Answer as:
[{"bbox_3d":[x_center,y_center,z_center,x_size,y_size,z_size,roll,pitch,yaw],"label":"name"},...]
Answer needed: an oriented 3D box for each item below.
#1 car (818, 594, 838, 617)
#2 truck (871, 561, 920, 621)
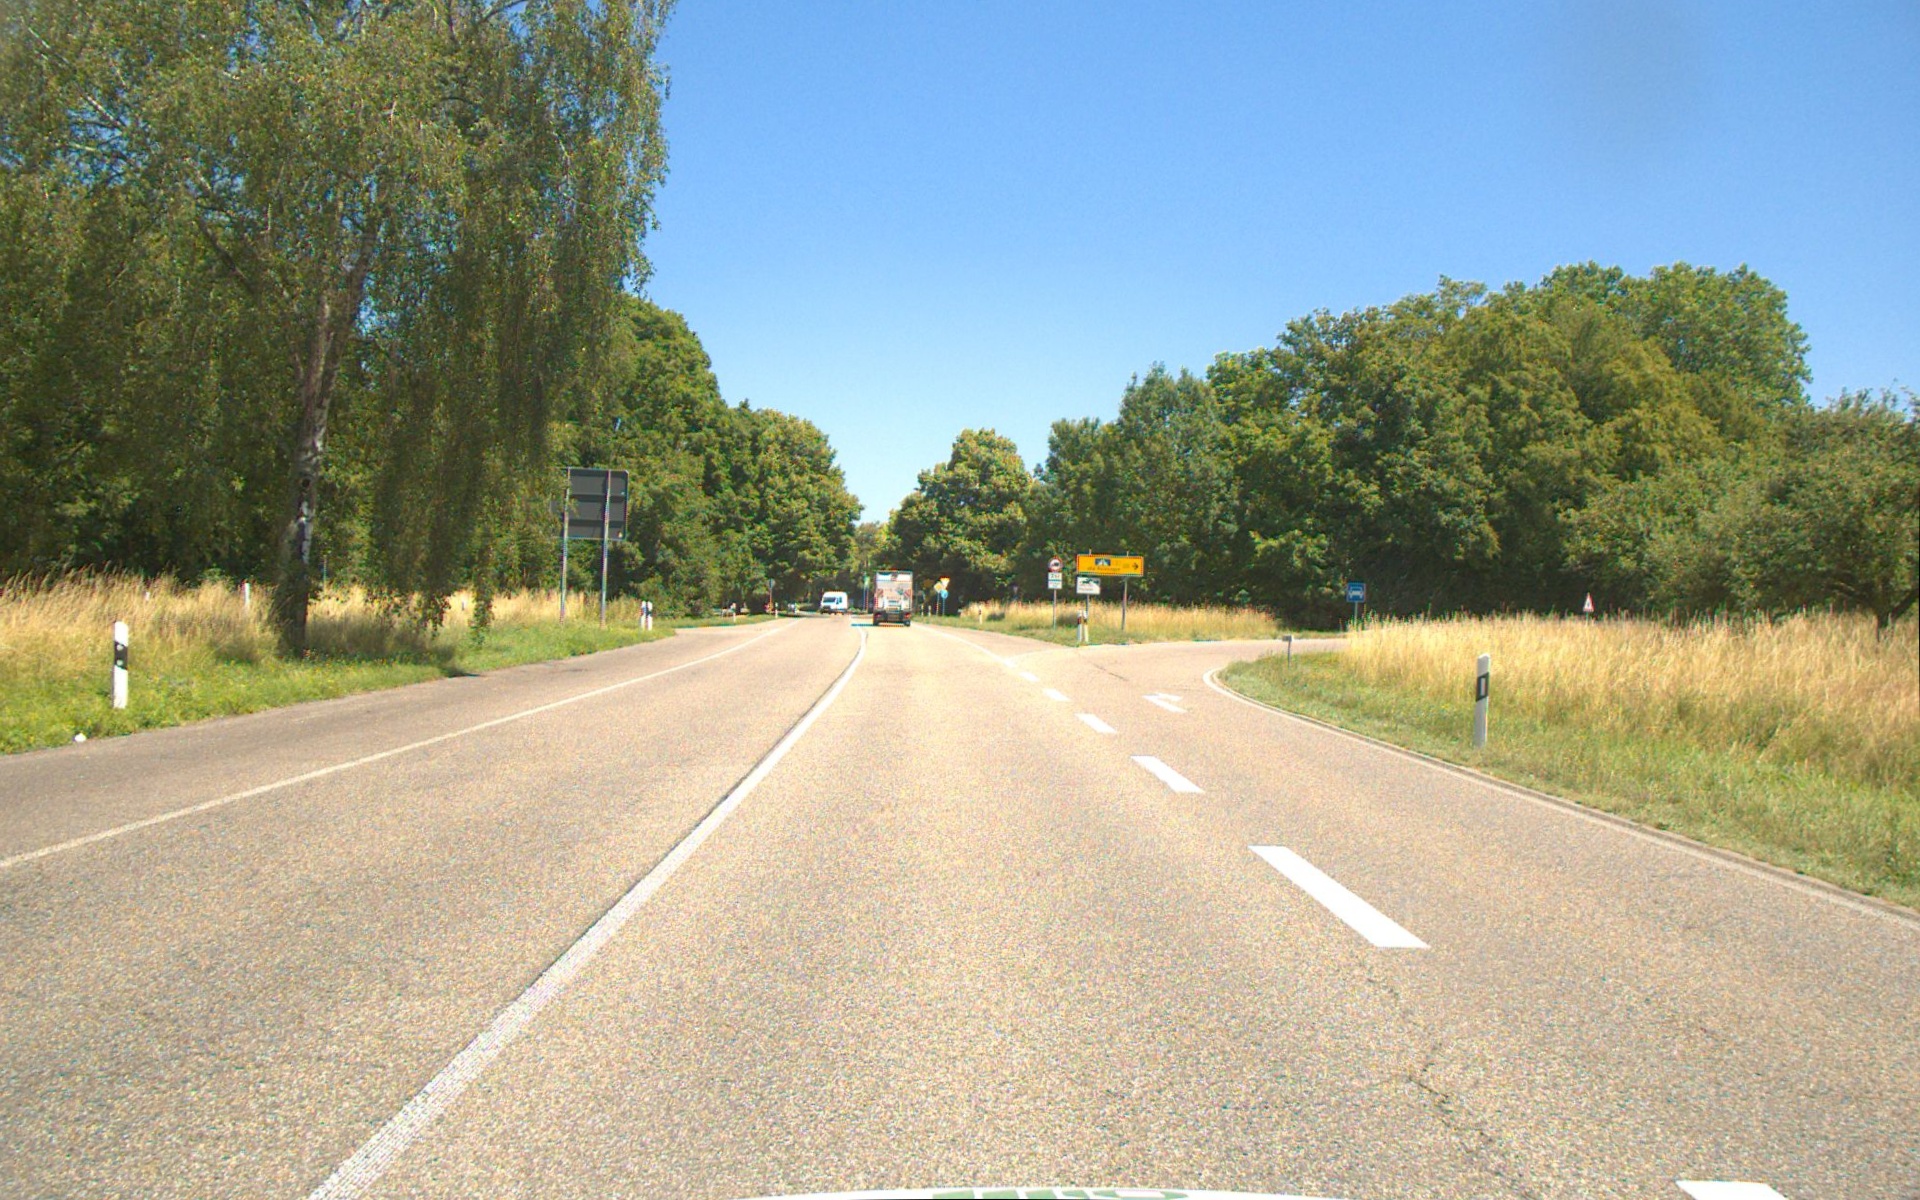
[{"bbox_3d":[-16.091,0.661,201.923,2.032,2.673,6.780,1,-1,-2],"label":"car"},{"bbox_3d":[-3.566,-0.517,91.908,2.482,3.190,5.360,1,0,0],"label":"truck"}]
